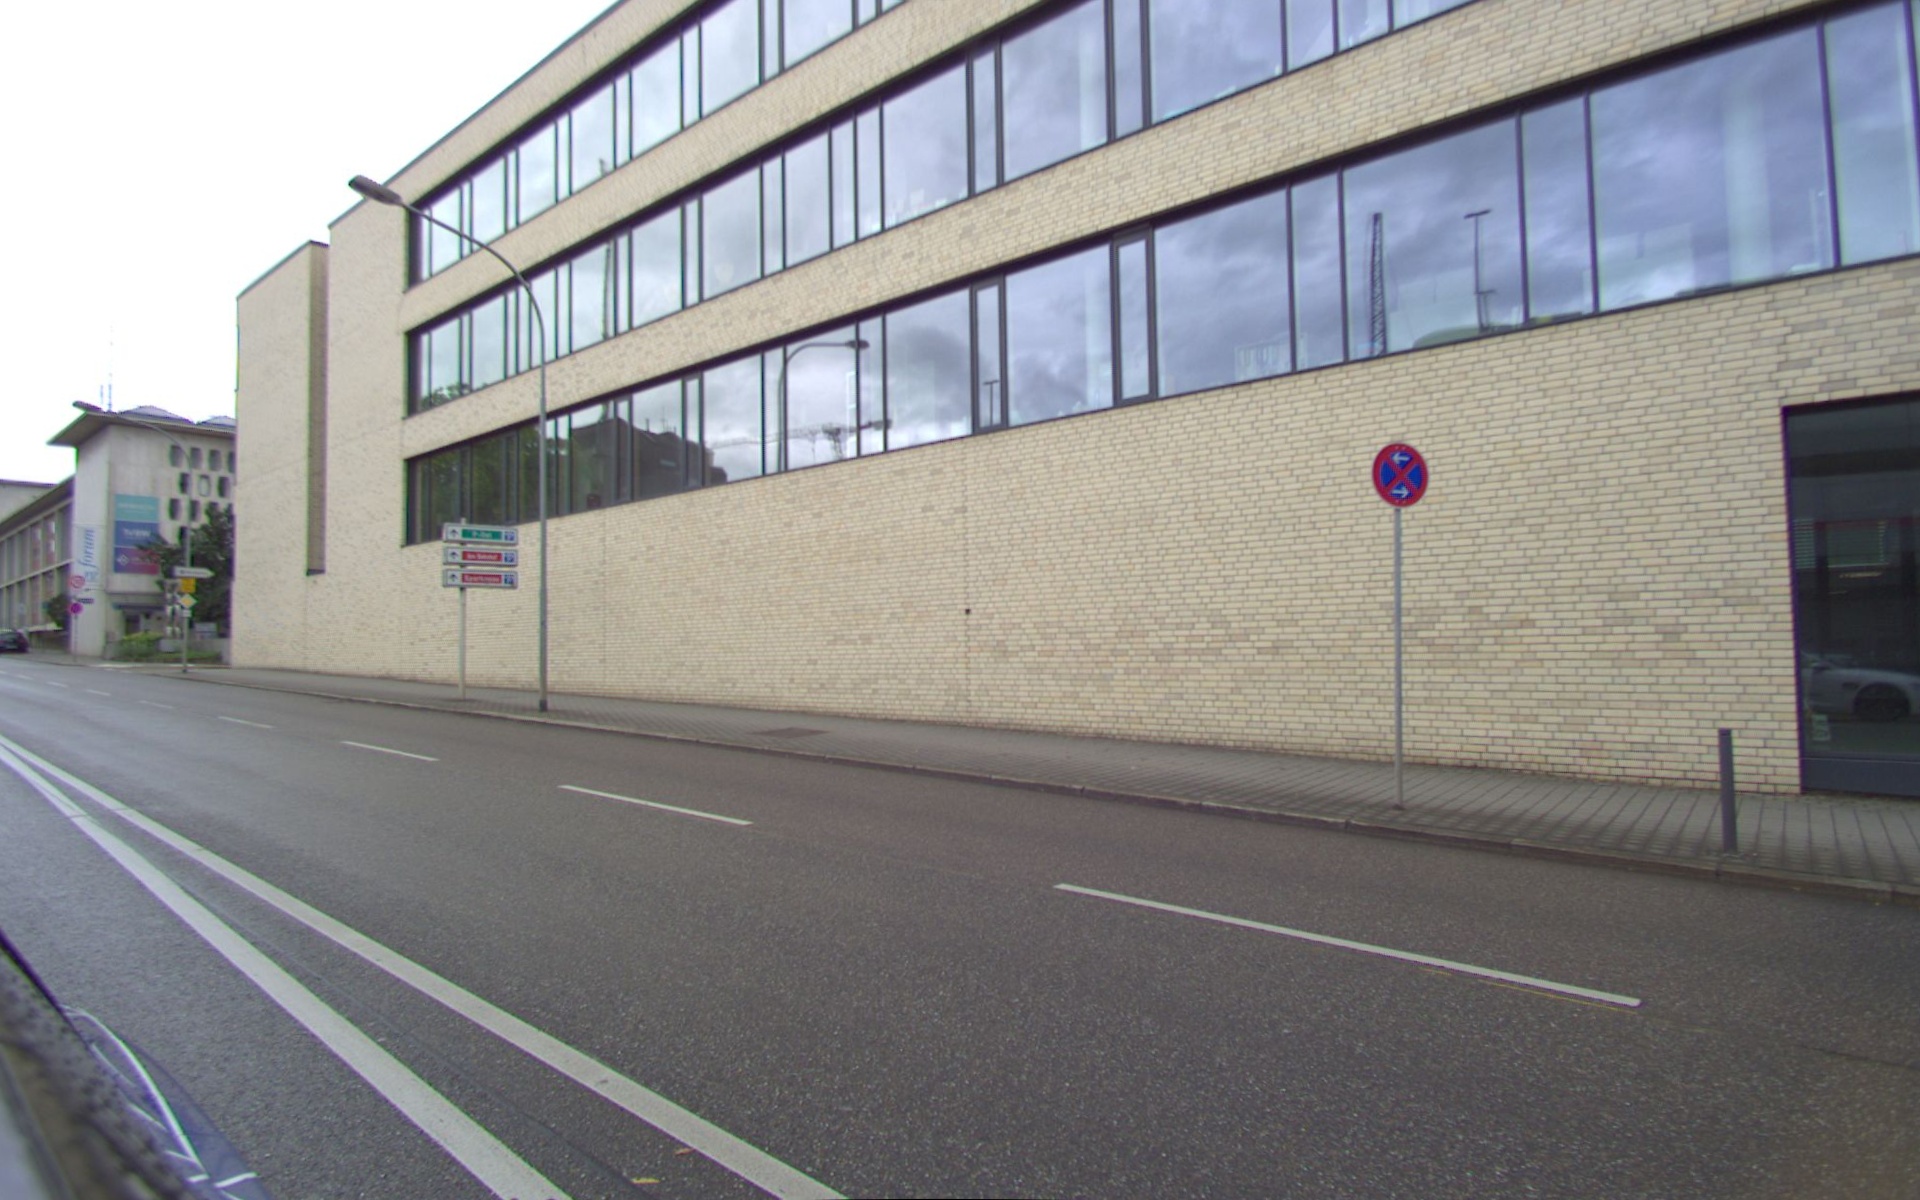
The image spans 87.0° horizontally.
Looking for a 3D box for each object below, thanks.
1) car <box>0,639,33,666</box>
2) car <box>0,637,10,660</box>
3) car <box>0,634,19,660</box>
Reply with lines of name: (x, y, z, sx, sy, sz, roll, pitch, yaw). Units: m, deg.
car: (-61.628, 3.388, 65.434, 3.996, 1.541, 1.974, -1, 0, 40)
car: (-69.709, 3.493, 72.581, 3.999, 1.523, 1.972, -1, 0, 42)
car: (-65.699, 3.193, 68.869, 3.997, 1.654, 1.973, -1, 0, 41)
